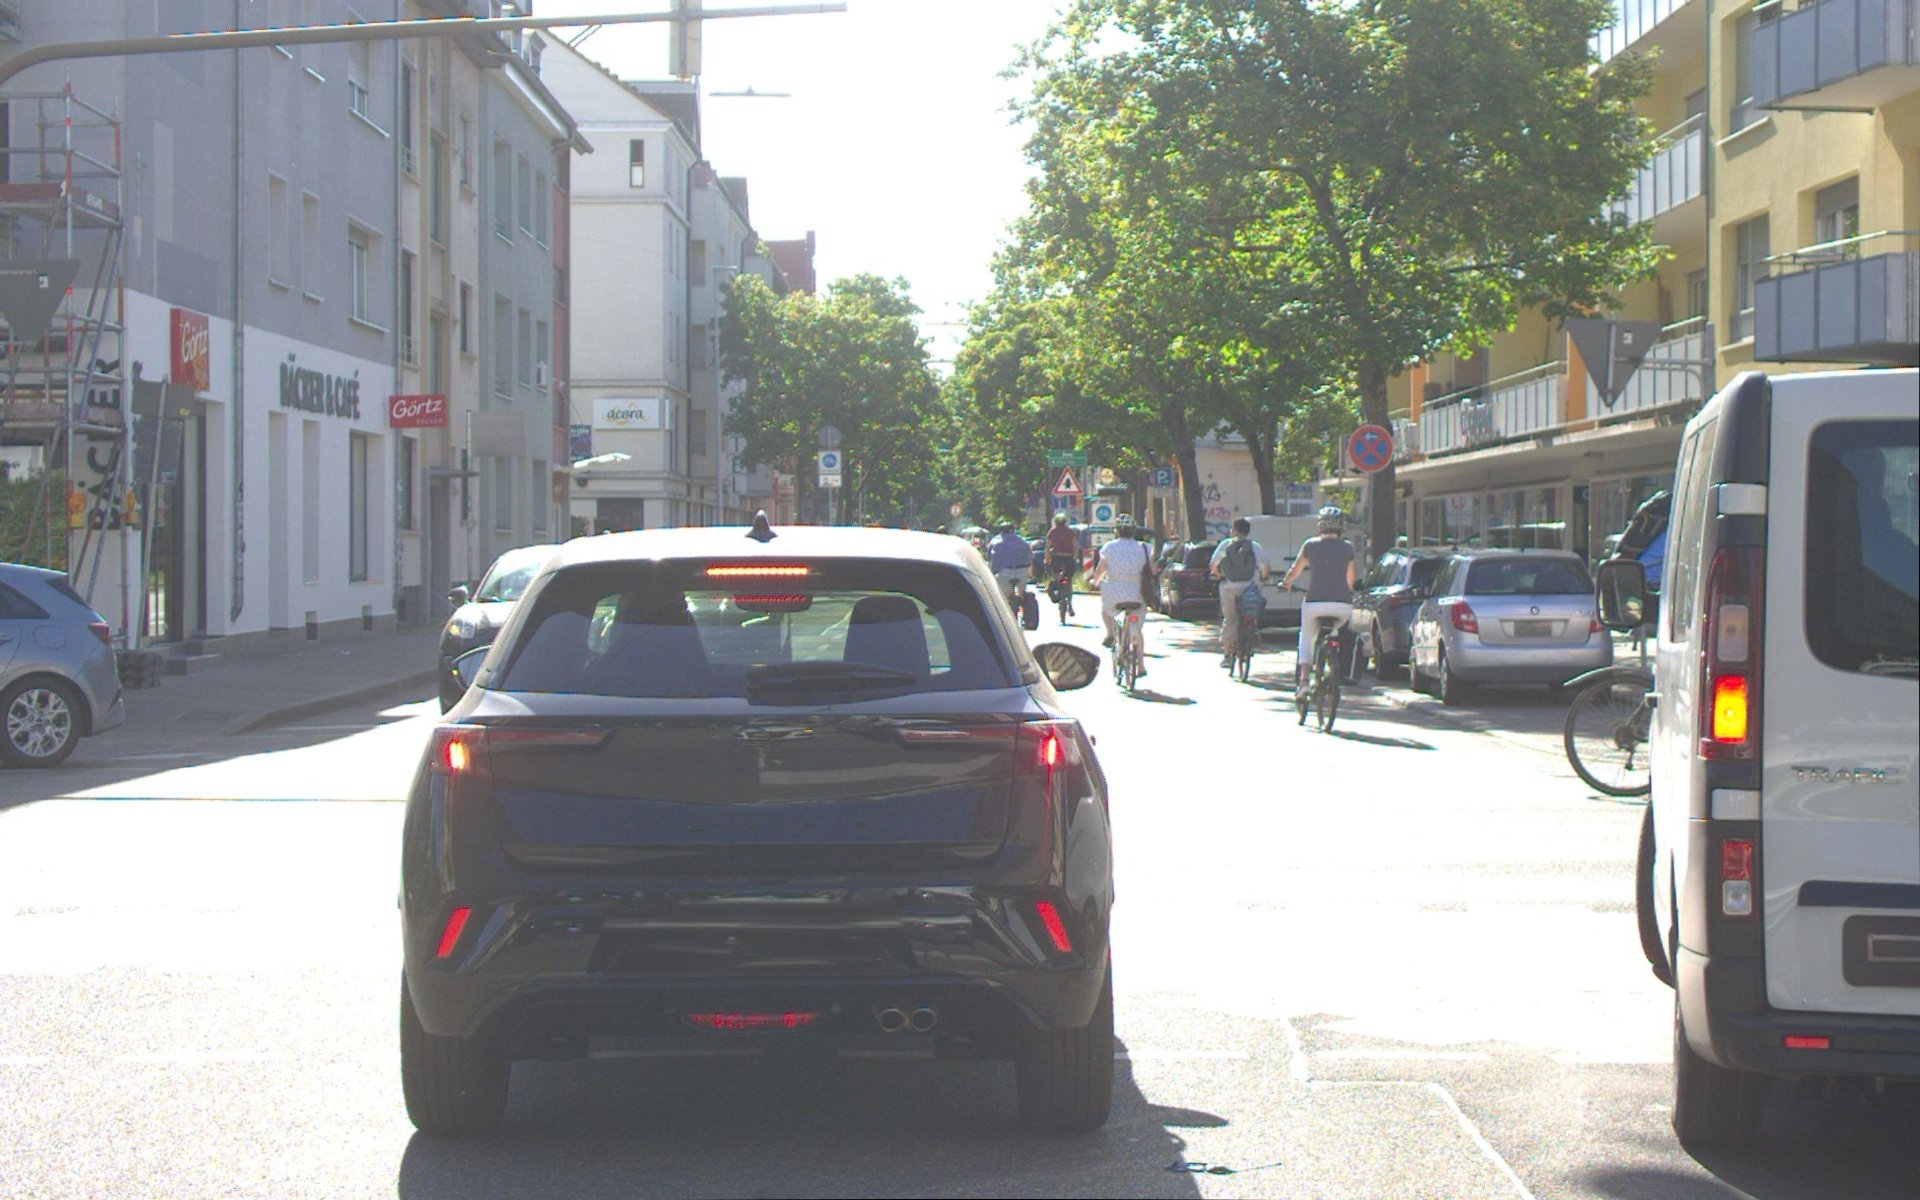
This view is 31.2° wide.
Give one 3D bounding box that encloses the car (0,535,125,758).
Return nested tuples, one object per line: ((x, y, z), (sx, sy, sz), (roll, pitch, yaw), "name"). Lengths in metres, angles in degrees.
((-7.695, 0.309, 22.038), (4.164, 1.429, 1.842), (-1, 2, -41), "car")

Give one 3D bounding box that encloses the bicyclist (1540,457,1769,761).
((3.871, 0.037, 19.147), (1.123, 1.644, 0.803), (0, 1, 22), "bicyclist")

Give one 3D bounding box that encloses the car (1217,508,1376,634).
((5.092, -0.478, 52.587), (2.046, 1.840, 4.584), (0, 1, 1), "car")

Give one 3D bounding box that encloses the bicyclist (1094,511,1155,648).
((1.670, -0.218, 35.030), (0.588, 1.377, 0.823), (0, 1, 1), "bicyclist")

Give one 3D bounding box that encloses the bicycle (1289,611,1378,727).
((3.045, 0.551, 28.137), (0.547, 0.863, 1.876), (0, 1, 1), "bicycle")

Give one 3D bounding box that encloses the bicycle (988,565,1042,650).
((0.689, 0.087, 43.832), (0.632, 1.037, 1.795), (-1, 1, -1), "bicycle")

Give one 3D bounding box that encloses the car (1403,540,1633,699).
((5.484, 0.154, 34.174), (1.712, 1.478, 3.480), (0, 1, 0), "car")

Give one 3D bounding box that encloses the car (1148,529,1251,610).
((4.497, -0.600, 64.993), (1.712, 1.478, 3.381), (0, 1, 0), "car")

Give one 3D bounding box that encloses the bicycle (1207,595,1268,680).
((3.050, 0.404, 37.929), (0.547, 0.863, 1.876), (0, 1, 1), "bicycle")

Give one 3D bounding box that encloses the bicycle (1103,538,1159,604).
((2.301, -0.397, 46.356), (0.691, 0.863, 1.876), (0, 1, 1), "bicycle")

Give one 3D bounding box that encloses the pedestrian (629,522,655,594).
((-7.009, -0.930, 75.697), (0.577, 1.577, 0.708), (0, 1, -5), "pedestrian")

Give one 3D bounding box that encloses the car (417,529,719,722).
((-3.356, 0.180, 30.155), (1.592, 1.560, 4.088), (-1, 1, 9), "car")

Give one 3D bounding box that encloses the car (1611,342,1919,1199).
((2.979, 0.387, 9.998), (1.969, 1.933, 5.054), (2, 1, 9), "car")

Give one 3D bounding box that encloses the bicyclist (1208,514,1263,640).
((3.029, -0.260, 37.874), (0.547, 1.377, 0.823), (0, 1, 1), "bicyclist")

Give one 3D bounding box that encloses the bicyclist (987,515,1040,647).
((0.682, -0.251, 43.679), (0.632, 1.663, 1.050), (-1, 1, -1), "bicyclist")

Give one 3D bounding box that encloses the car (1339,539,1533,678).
((5.311, 0.060, 38.700), (1.712, 1.478, 3.381), (0, 1, 0), "car")

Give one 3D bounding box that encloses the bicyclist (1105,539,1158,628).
((2.304, -0.221, 46.336), (0.692, 1.189, 0.595), (0, 1, 1), "bicyclist")

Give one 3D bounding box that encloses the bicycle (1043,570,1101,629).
((1.937, -0.013, 59.713), (0.856, 0.941, 2.308), (2, 1, -1), "bicycle")

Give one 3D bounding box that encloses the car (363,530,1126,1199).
((-0.521, 0.581, 9.962), (1.762, 1.553, 4.000), (0, 1, -1), "car")

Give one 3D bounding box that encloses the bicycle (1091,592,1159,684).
((1.669, 0.376, 35.001), (0.620, 0.863, 1.876), (0, 1, 1), "bicycle")

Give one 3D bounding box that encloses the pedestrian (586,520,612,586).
((-7.972, -1.045, 75.883), (0.577, 1.462, 0.703), (0, 1, -5), "pedestrian")

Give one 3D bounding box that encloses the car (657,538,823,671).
((-2.567, 0.011, 40.451), (1.804, 1.408, 4.427), (-2, 1, -3), "car")

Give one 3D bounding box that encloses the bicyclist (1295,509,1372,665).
((3.048, -0.113, 28.096), (0.547, 1.257, 0.803), (0, 1, 1), "bicyclist")

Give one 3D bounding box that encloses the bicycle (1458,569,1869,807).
((3.914, 0.465, 19.145), (2.134, 1.251, 0.803), (0, 1, 21), "bicycle")

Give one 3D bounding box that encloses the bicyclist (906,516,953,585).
((-0.604, -0.974, 67.515), (0.856, 1.310, 1.210), (2, 1, -1), "bicyclist")

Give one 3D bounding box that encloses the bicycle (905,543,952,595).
((-0.622, -0.615, 67.452), (0.856, 0.941, 2.308), (2, 1, -1), "bicycle")

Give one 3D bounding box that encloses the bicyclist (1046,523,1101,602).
((1.963, -0.656, 59.609), (0.856, 1.310, 1.210), (2, 1, -1), "bicyclist")
